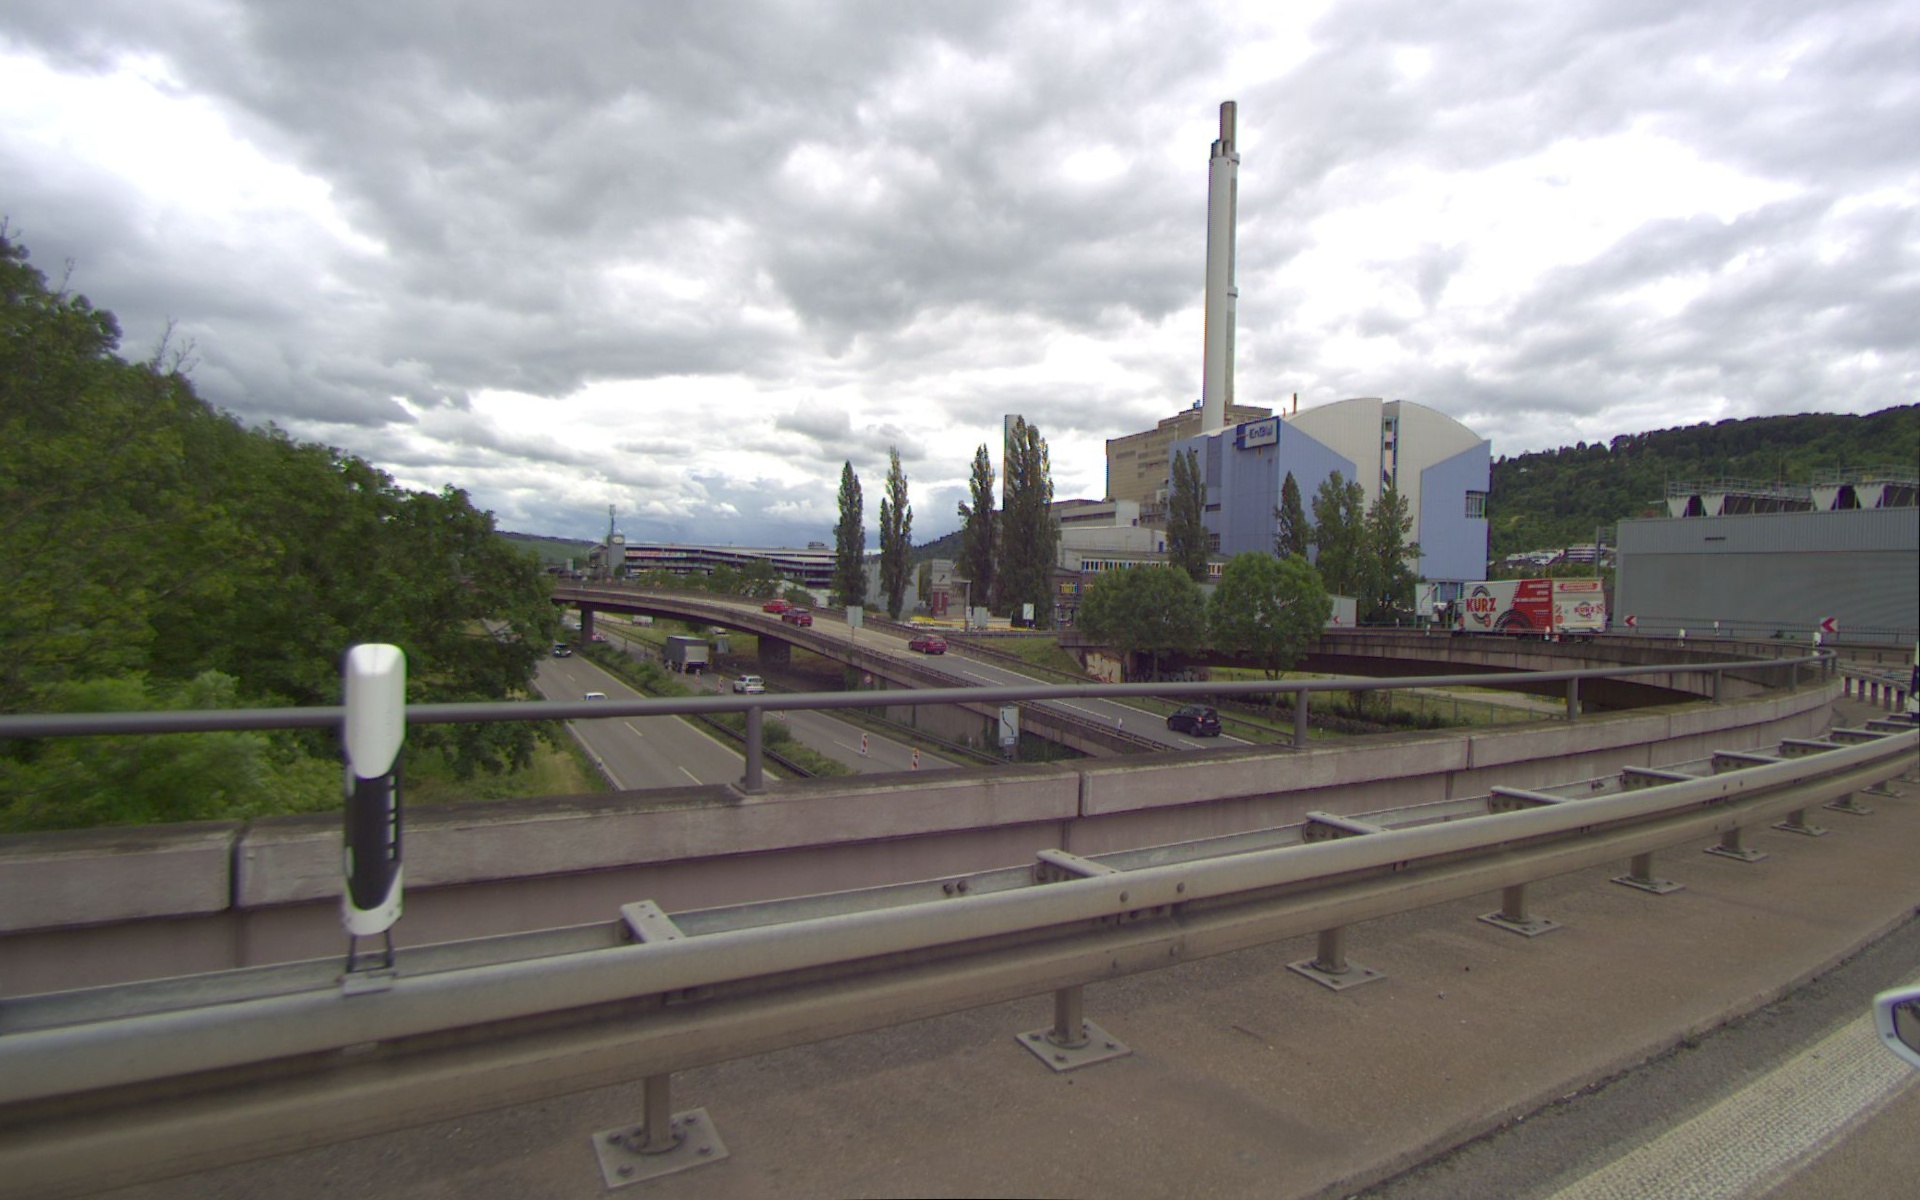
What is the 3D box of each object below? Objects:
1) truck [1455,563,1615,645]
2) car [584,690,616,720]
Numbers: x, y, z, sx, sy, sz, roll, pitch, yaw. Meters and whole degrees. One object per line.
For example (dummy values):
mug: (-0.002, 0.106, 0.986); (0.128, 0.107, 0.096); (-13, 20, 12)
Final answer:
truck: (28.504, 0.182, 50.349); (3.002, 3.722, 7.922); (1, 0, -4)
car: (-26.076, 7.585, 72.720); (1.845, 1.684, 3.974); (1, 0, -25)
